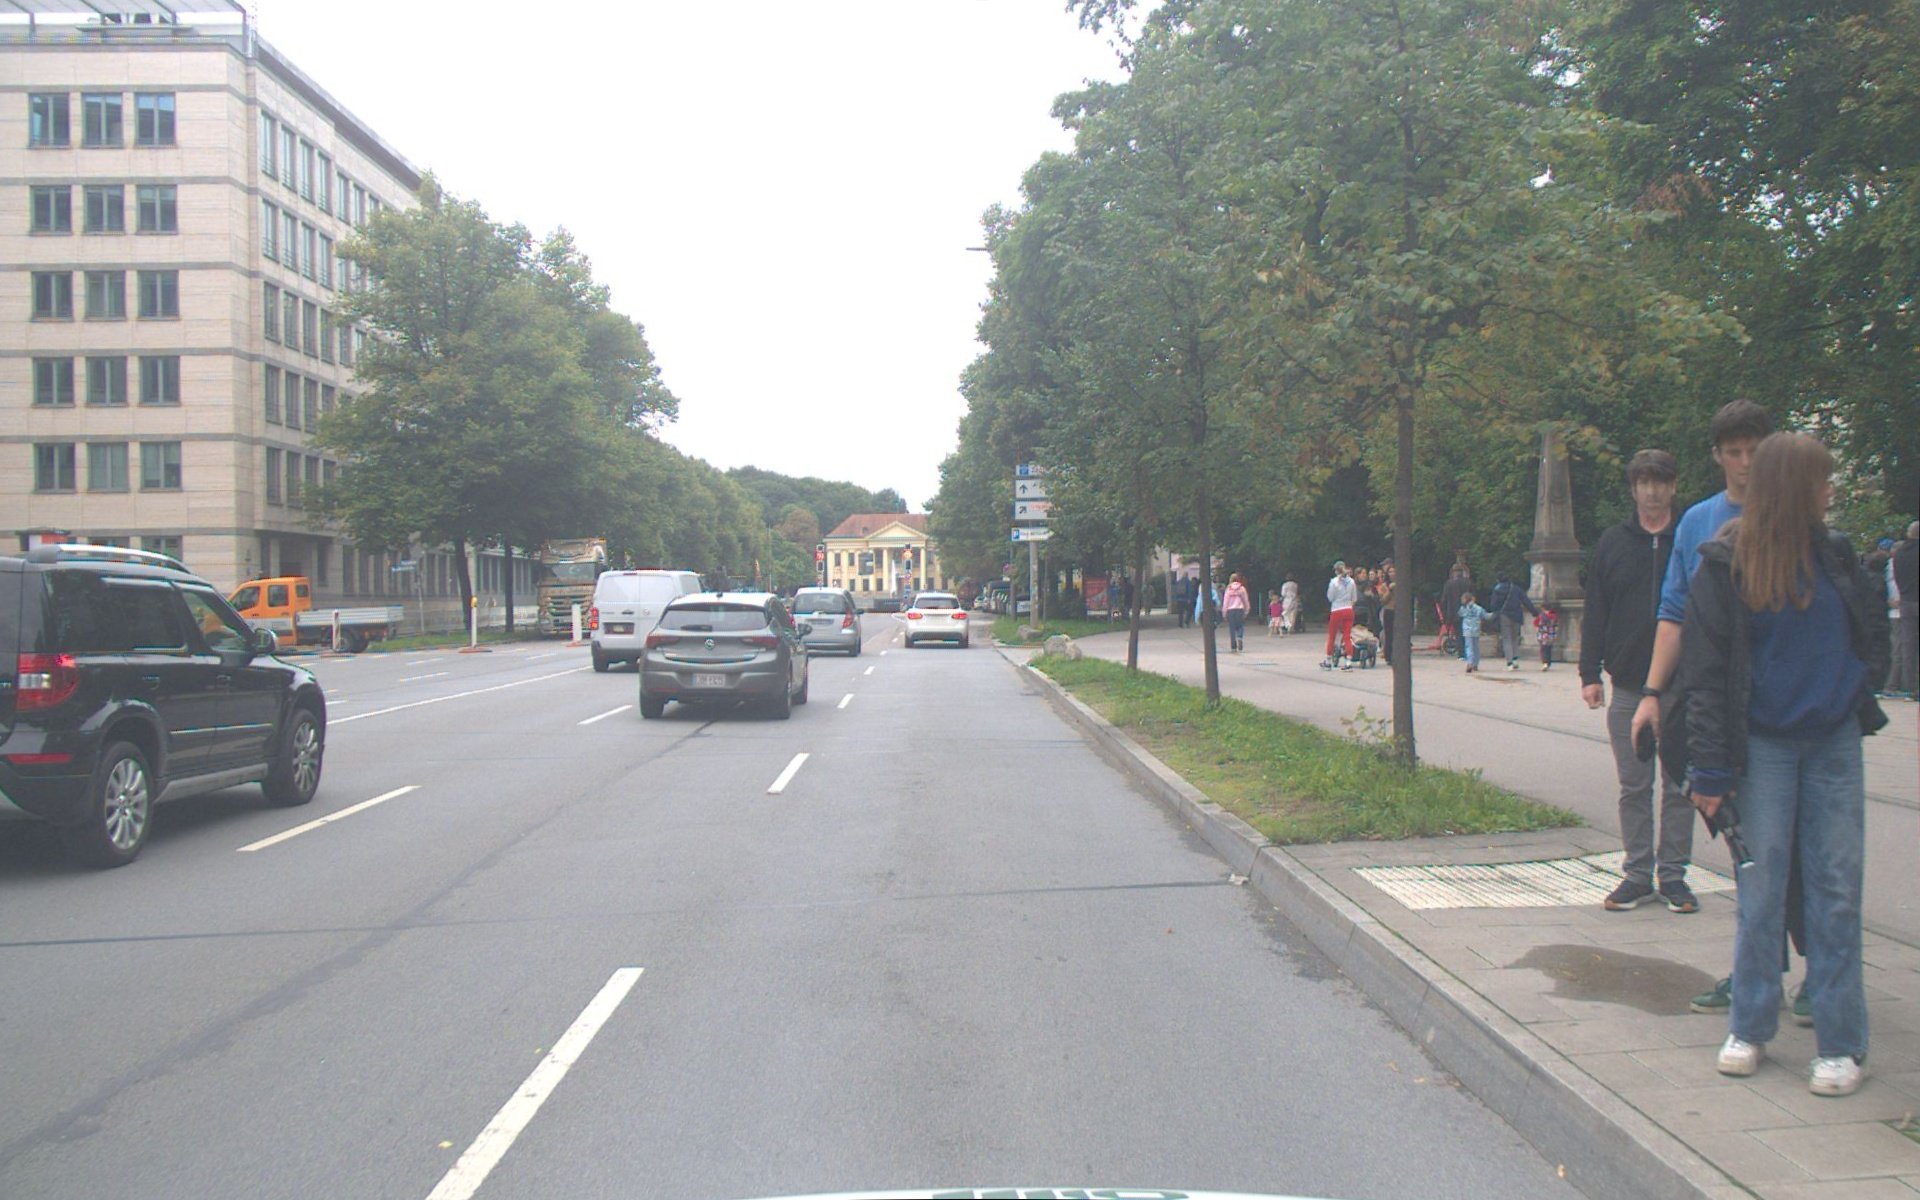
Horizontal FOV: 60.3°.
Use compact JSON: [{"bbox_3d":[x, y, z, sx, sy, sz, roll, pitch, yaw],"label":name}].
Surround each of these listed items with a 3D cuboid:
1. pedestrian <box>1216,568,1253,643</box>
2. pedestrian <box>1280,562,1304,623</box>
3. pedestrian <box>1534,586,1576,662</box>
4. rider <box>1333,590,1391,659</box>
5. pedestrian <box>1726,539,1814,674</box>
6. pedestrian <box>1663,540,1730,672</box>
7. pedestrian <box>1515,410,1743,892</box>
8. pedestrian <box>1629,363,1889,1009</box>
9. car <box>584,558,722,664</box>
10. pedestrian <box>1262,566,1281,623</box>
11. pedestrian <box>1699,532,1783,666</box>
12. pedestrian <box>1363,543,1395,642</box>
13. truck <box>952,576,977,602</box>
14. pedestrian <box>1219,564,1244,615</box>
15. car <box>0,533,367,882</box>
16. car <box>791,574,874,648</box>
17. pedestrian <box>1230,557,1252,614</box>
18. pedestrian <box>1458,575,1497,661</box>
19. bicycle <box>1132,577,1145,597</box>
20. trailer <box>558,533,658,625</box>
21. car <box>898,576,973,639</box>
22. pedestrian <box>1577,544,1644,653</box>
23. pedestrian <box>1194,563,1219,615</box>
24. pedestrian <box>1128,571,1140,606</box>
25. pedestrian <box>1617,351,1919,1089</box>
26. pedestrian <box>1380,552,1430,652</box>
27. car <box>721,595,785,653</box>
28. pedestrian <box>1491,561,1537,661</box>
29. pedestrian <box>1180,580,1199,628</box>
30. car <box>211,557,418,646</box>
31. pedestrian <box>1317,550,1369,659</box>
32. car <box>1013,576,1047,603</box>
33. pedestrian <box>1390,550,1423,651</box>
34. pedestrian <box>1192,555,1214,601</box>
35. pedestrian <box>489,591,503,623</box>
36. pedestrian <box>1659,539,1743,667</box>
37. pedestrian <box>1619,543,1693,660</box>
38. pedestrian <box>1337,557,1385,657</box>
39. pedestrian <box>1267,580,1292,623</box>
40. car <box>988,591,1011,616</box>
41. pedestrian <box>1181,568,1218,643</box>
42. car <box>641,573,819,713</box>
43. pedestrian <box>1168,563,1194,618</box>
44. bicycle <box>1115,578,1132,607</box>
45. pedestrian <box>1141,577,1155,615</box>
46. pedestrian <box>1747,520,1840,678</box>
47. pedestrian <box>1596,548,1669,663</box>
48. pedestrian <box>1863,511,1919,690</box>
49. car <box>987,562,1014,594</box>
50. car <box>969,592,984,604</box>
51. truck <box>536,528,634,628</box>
[{"bbox_3d":[6.209,0.122,37.383,0.738,1.672,0.850,0,0,14],"label":"pedestrian"},{"bbox_3d":[9.243,-0.207,45.992,0.618,1.696,0.573,0,0,14],"label":"pedestrian"},{"bbox_3d":[9.325,0.375,25.931,0.448,1.173,0.648,0,0,4],"label":"pedestrian"},{"bbox_3d":[6.787,0.395,27.973,0.748,1.131,1.245,0,0,4],"label":"rider"},{"bbox_3d":[10.512,0.080,21.486,0.795,1.720,0.729,0,0,1],"label":"pedestrian"},{"bbox_3d":[9.757,0.069,21.926,0.579,1.720,0.729,0,0,2],"label":"pedestrian"},{"bbox_3d":[2.833,0.197,7.010,0.789,1.914,0.542,0,0,35],"label":"pedestrian"},{"bbox_3d":[2.513,0.242,5.185,0.626,1.840,0.708,0,0,35],"label":"pedestrian"},{"bbox_3d":[-5.946,0.191,32.568,1.860,1.880,4.954,-1,0,-1],"label":"car"},{"bbox_3d":[8.735,-0.158,46.317,0.474,1.593,0.573,0,0,14],"label":"pedestrian"},{"bbox_3d":[10.491,-0.012,22.237,0.795,1.769,0.729,0,0,1],"label":"pedestrian"},{"bbox_3d":[8.381,-0.151,33.046,0.596,1.948,0.693,0,0,15],"label":"pedestrian"},{"bbox_3d":[0.538,-1.458,224.034,3.258,3.426,8.661,0,1,-1],"label":"truck"},{"bbox_3d":[8.832,-0.346,53.829,0.738,1.672,0.691,0,0,14],"label":"pedestrian"},{"bbox_3d":[-5.167,0.520,10.020,1.688,1.665,4.204,-1,0,-1],"label":"car"},{"bbox_3d":[-2.997,0.228,39.518,1.743,1.683,3.999,0,1,-1],"label":"car"},{"bbox_3d":[9.275,-0.482,54.658,0.576,1.854,0.850,0,0,0],"label":"pedestrian"},{"bbox_3d":[8.240,0.276,26.347,0.448,1.349,0.648,0,0,4],"label":"pedestrian"},{"bbox_3d":[12.652,-0.917,117.276,0.685,1.440,2.298,-1,0,-1],"label":"bicycle"},{"bbox_3d":[-15.782,-0.938,75.012,2.892,3.805,11.760,0,1,-5],"label":"trailer"},{"bbox_3d":[-0.719,0.168,46.034,1.745,1.673,3.995,0,1,-6],"label":"car"},{"bbox_3d":[10.450,-0.027,26.570,0.795,1.720,0.729,0,0,1],"label":"pedestrian"},{"bbox_3d":[7.975,-0.347,53.544,0.738,1.672,0.651,0,0,14],"label":"pedestrian"},{"bbox_3d":[8.546,-0.563,81.274,0.568,1.705,0.553,0,0,3],"label":"pedestrian"},{"bbox_3d":[2.247,0.298,4.446,0.693,1.840,0.639,0,0,-1],"label":"pedestrian"},{"bbox_3d":[7.760,0.037,28.850,0.711,1.720,0.648,0,0,4],"label":"pedestrian"},{"bbox_3d":[-6.360,0.701,51.172,1.744,1.683,3.997,0,1,-4],"label":"car"},{"bbox_3d":[8.781,0.168,26.243,0.538,1.554,0.648,0,0,4],"label":"pedestrian"},{"bbox_3d":[8.504,0.146,61.288,0.595,1.794,0.797,0,0,3],"label":"pedestrian"},{"bbox_3d":[-20.046,0.030,51.558,5.570,2.580,2.154,-1,0,-5],"label":"car"},{"bbox_3d":[6.122,0.072,26.449,0.711,1.720,0.648,0,0,4],"label":"pedestrian"},{"bbox_3d":[4.270,-0.644,101.485,1.790,1.576,4.751,-2,0,0],"label":"car"},{"bbox_3d":[8.573,0.007,31.778,0.596,1.905,0.693,0,0,15],"label":"pedestrian"},{"bbox_3d":[9.505,-0.866,64.715,0.738,1.767,0.850,0,0,14],"label":"pedestrian"},{"bbox_3d":[-25.527,0.399,90.934,0.566,1.762,0.764,0,0,-1],"label":"pedestrian"},{"bbox_3d":[10.309,0.035,23.034,0.795,1.720,0.729,-2,0,1],"label":"pedestrian"},{"bbox_3d":[10.424,0.018,24.794,0.795,1.720,0.729,-1,0,1],"label":"pedestrian"},{"bbox_3d":[7.002,0.121,28.915,0.711,1.720,0.648,0,0,4],"label":"pedestrian"},{"bbox_3d":[8.539,0.040,44.225,0.618,1.156,0.573,0,0,14],"label":"pedestrian"},{"bbox_3d":[3.184,0.269,132.796,1.689,1.900,4.027,-2,0,0],"label":"car"},{"bbox_3d":[5.444,0.115,37.505,0.738,1.672,0.850,0,0,14],"label":"pedestrian"},{"bbox_3d":[-2.770,0.470,20.706,1.675,1.579,4.000,0,1,0],"label":"car"},{"bbox_3d":[7.190,-0.321,53.903,0.738,1.767,0.850,0,0,14],"label":"pedestrian"},{"bbox_3d":[5.900,-0.268,59.647,0.376,1.039,2.079,0,1,0],"label":"bicycle"},{"bbox_3d":[8.930,-0.178,78.612,0.617,1.805,0.782,0,0,3],"label":"pedestrian"},{"bbox_3d":[10.448,-0.019,20.756,0.795,1.950,0.729,0,0,1],"label":"pedestrian"},{"bbox_3d":[10.396,0.081,25.585,0.795,1.720,0.729,-2,0,1],"label":"pedestrian"},{"bbox_3d":[10.303,0.004,17.782,0.795,1.884,0.729,0,0,1],"label":"pedestrian"},{"bbox_3d":[3.404,-1.837,138.941,1.953,2.689,4.876,0,0,-2],"label":"car"},{"bbox_3d":[1.854,-0.253,186.440,1.689,1.347,4.027,-2,0,0],"label":"car"},{"bbox_3d":[-15.194,-0.875,67.546,2.859,3.840,7.658,0,1,-5],"label":"truck"}]
